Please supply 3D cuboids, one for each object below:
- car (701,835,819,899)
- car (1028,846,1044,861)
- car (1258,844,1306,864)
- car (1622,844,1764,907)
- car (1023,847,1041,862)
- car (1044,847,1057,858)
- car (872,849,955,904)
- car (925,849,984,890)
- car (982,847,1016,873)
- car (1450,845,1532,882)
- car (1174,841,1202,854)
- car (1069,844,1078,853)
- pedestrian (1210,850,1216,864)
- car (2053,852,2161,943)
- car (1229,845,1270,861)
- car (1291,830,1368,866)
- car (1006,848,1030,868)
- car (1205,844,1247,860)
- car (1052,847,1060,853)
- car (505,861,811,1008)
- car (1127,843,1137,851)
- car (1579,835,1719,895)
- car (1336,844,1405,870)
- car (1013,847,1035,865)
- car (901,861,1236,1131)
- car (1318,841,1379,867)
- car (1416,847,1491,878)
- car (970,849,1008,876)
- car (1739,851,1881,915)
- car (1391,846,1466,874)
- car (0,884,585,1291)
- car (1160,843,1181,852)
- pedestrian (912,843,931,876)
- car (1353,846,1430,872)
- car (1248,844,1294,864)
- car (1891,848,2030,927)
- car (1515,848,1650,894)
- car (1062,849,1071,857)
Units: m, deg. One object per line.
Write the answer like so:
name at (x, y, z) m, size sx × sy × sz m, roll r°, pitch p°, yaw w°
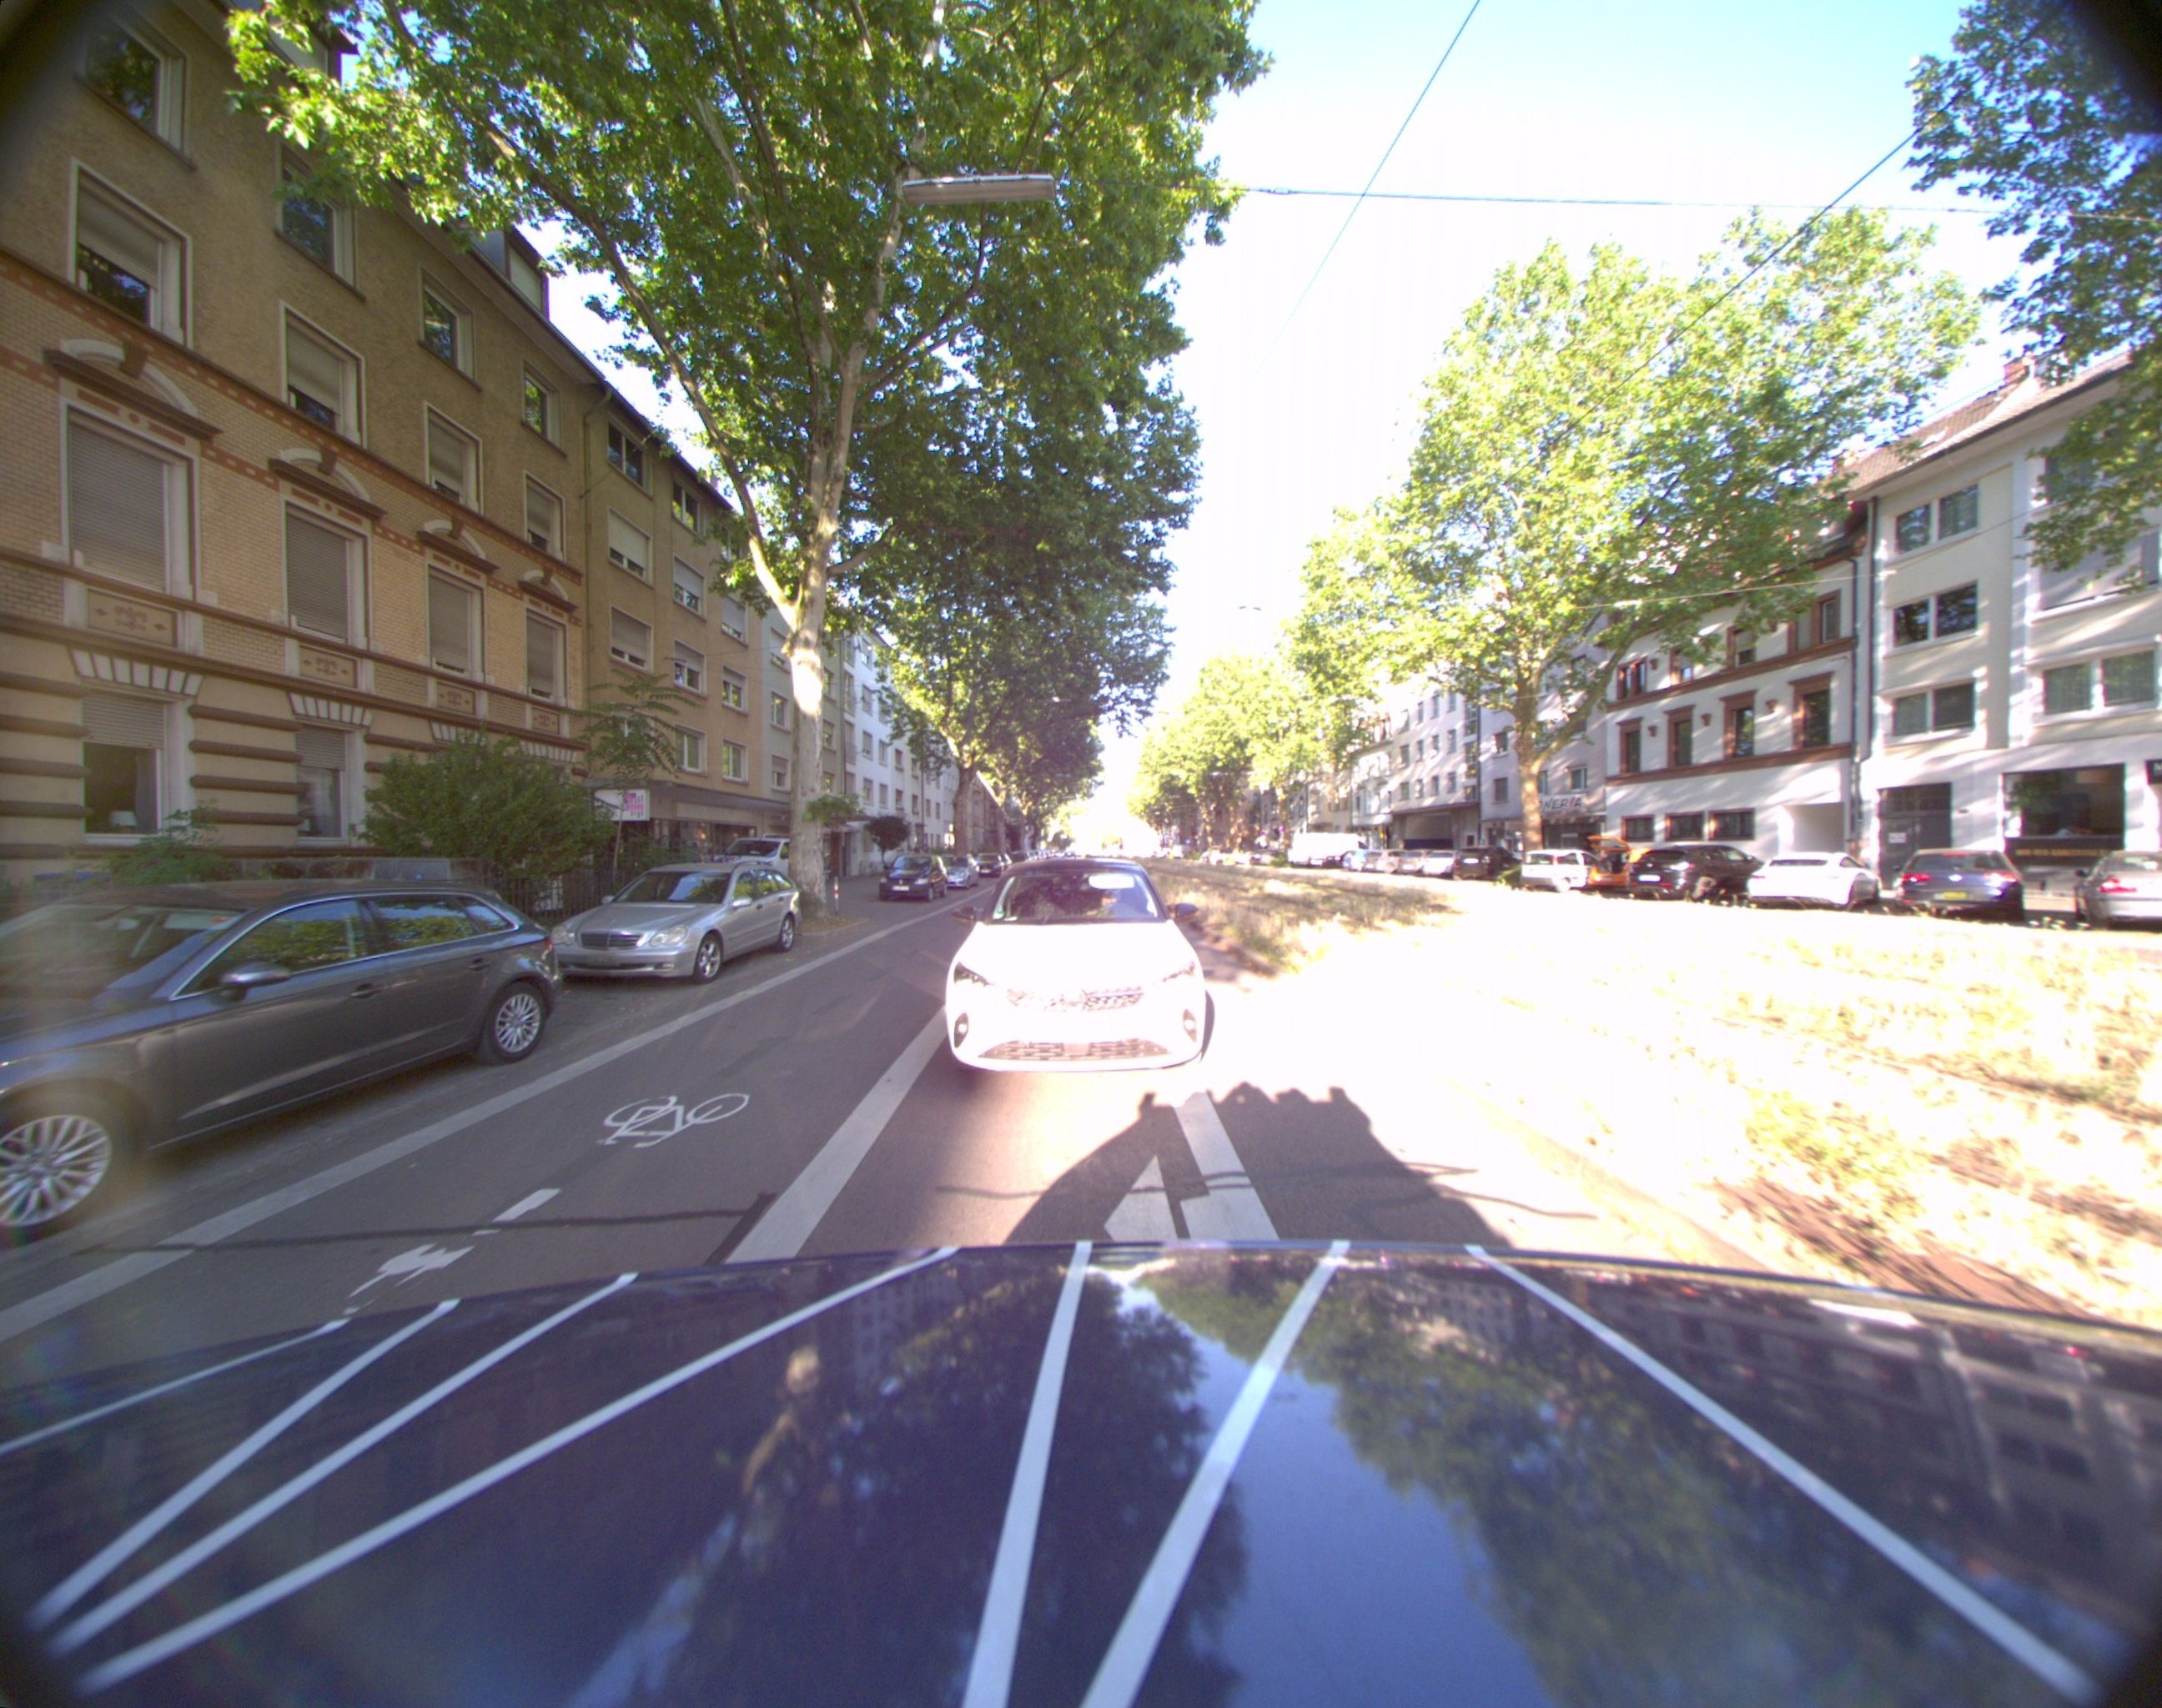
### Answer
car at (-10.425, 0.371, 25.108) m, size 1.933 × 1.864 × 4.676 m, roll 2°, pitch 1°, yaw -1°
car at (-5.536, -0.109, 93.914) m, size 1.803 × 1.742 × 4.104 m, roll 2°, pitch 1°, yaw -1°
car at (18.681, 0.004, 70.544) m, size 4.005 × 1.805 × 1.995 m, roll -1°, pitch 1°, yaw -27°
car at (18.177, 0.548, 22.520) m, size 4.265 × 1.674 × 2.147 m, roll -1°, pitch 1°, yaw -35°
car at (-5.566, 0.022, 87.318) m, size 1.803 × 1.599 × 4.104 m, roll 2°, pitch 1°, yaw -1°
car at (-4.416, -0.253, 110.729) m, size 1.803 × 1.598 × 3.701 m, roll 2°, pitch 1°, yaw -1°
car at (-5.459, 0.678, 25.357) m, size 1.803 × 1.599 × 4.369 m, roll 2°, pitch 1°, yaw -1°
car at (-5.407, 0.624, 32.992) m, size 1.803 × 1.599 × 4.369 m, roll 2°, pitch 1°, yaw -1°
car at (-5.494, 0.374, 51.508) m, size 1.803 × 1.599 × 4.369 m, roll 2°, pitch 1°, yaw -1°
car at (18.912, 0.399, 35.017) m, size 4.266 × 1.605 × 1.902 m, roll -1°, pitch 1°, yaw -40°
car at (18.398, -1.089, 130.744) m, size 4.952 × 2.200 × 2.096 m, roll -1°, pitch 1°, yaw -42°
car at (-1.654, -1.329, 174.511) m, size 1.998 × 2.002 × 3.999 m, roll -2°, pitch 1°, yaw 0°
pedestrian at (14.583, 0.348, 83.818) m, size 0.620 × 1.588 × 0.422 m, roll 0°, pitch 1°, yaw 0°
car at (18.962, 0.700, 13.512) m, size 3.979 × 1.424 × 1.738 m, roll -1°, pitch 0°, yaw -43°
car at (18.264, -0.128, 82.293) m, size 4.005 × 1.696 × 1.995 m, roll -1°, pitch 1°, yaw -27°
car at (19.068, -0.506, 58.369) m, size 5.619 × 2.685 × 2.175 m, roll -1°, pitch 1°, yaw -24°
car at (-5.505, 0.300, 66.995) m, size 1.803 × 1.599 × 4.104 m, roll 2°, pitch 1°, yaw -1°
car at (16.114, -0.240, 84.630) m, size 4.234 × 1.696 × 1.999 m, roll 0°, pitch 1°, yaw -4°
car at (-7.800, -1.274, 234.912) m, size 1.998 × 1.850 × 4.001 m, roll -2°, pitch 1°, yaw 5°
car at (-5.404, 0.908, 10.530) m, size 1.803 × 1.447 × 4.511 m, roll 2°, pitch 1°, yaw -2°
car at (17.265, -2.287, 256.259) m, size 2.963 × 2.407 × 6.326 m, roll -2°, pitch 1°, yaw 1°
car at (19.372, 0.345, 25.927) m, size 4.260 × 1.932 × 1.514 m, roll -1°, pitch 1°, yaw -15°
car at (18.689, 0.149, 49.071) m, size 4.005 × 1.609 × 1.995 m, roll -1°, pitch 1°, yaw -27°
car at (-5.524, 0.160, 74.301) m, size 1.803 × 1.599 × 4.104 m, roll 2°, pitch 1°, yaw -1°
car at (-0.084, 0.829, 6.293) m, size 1.865 × 1.394 × 3.931 m, roll -2°, pitch 1°, yaw -1°
car at (19.582, -0.005, 55.678) m, size 4.005 × 1.805 × 1.995 m, roll -1°, pitch 1°, yaw -27°
car at (18.893, 0.376, 38.474) m, size 4.265 × 1.451 × 1.598 m, roll -1°, pitch 1°, yaw -36°
car at (-5.560, 0.495, 46.318) m, size 1.803 × 1.494 × 4.369 m, roll 2°, pitch 1°, yaw -1°
car at (18.495, 0.646, 19.214) m, size 4.266 × 1.369 × 2.147 m, roll -1°, pitch 1°, yaw -40°
car at (19.121, 0.308, 41.751) m, size 4.265 × 1.449 × 1.902 m, roll -1°, pitch 1°, yaw -36°
car at (-5.208, 1.013, 4.366) m, size 1.802 × 1.394 × 4.369 m, roll 2°, pitch 1°, yaw 1°
car at (18.230, -1.230, 154.460) m, size 3.994 × 1.802 × 1.874 m, roll 0°, pitch 1°, yaw 10°
pedestrian at (-7.659, 0.275, 36.557) m, size 0.728 × 1.571 × 0.701 m, roll 0°, pitch 2°, yaw 0°
car at (18.784, 0.289, 45.945) m, size 4.004 × 1.509 × 1.996 m, roll -1°, pitch 1°, yaw -20°
car at (18.496, -0.032, 73.815) m, size 4.005 × 1.805 × 1.995 m, roll -1°, pitch 1°, yaw -27°
car at (19.298, 0.637, 16.811) m, size 3.979 × 1.495 × 1.826 m, roll -1°, pitch 1°, yaw -43°
car at (18.084, 0.559, 27.436) m, size 4.260 × 1.549 × 1.641 m, roll -1°, pitch 1°, yaw -15°
car at (-3.711, -0.305, 191.953) m, size 1.998 × 2.002 × 3.999 m, roll -2°, pitch 1°, yaw 1°
